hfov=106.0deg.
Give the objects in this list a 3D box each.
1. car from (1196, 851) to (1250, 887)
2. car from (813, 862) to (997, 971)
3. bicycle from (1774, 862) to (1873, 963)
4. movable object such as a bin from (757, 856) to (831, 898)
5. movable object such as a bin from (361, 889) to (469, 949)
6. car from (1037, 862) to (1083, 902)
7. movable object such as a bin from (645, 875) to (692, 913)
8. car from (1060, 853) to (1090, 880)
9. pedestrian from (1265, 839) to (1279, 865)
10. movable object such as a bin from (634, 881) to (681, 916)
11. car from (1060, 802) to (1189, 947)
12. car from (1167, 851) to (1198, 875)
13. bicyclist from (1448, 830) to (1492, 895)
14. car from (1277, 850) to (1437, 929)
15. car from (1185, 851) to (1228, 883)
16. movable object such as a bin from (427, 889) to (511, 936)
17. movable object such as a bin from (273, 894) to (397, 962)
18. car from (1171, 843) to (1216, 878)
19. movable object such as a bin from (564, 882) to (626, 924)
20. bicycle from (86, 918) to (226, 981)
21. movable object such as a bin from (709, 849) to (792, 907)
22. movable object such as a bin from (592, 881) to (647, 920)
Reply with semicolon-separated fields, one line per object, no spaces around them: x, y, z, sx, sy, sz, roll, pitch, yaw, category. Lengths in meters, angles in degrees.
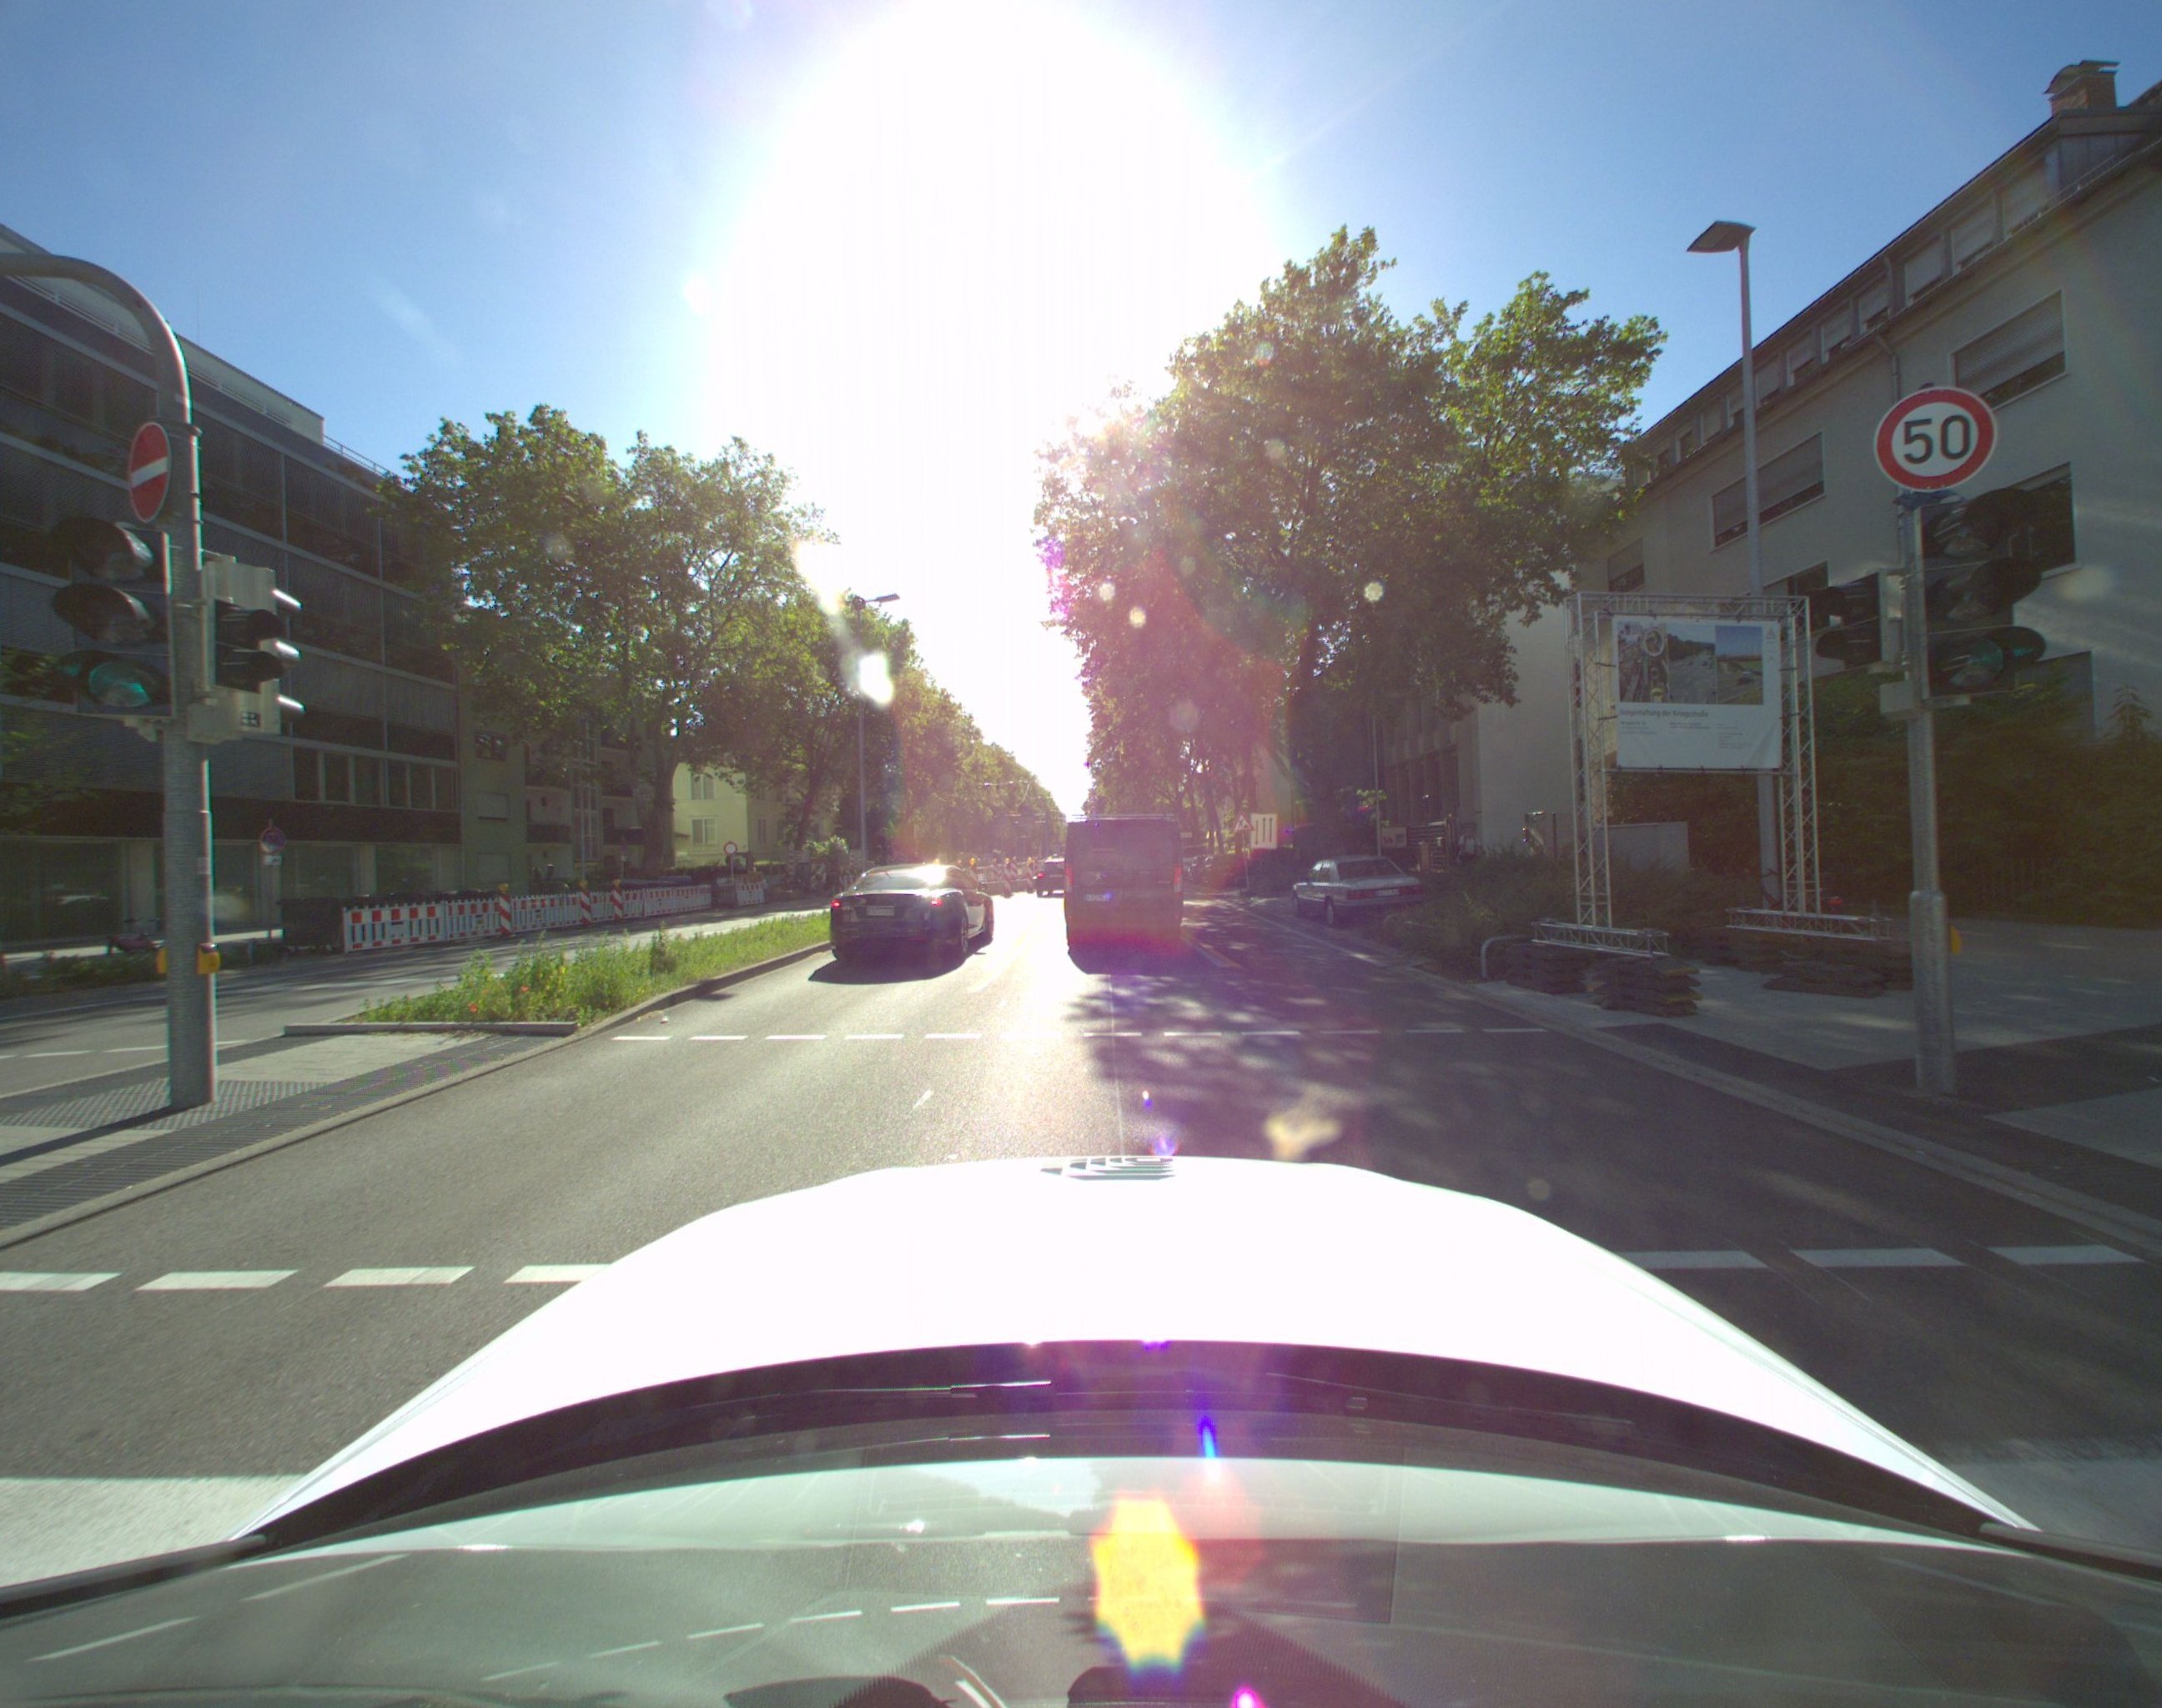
6.466;0.663;37.473;1.757;1.508;4.251;-2;0;1;car
-2.705;0.895;13.716;1.918;1.412;4.627;-2;0;2;car
8.607;0.620;9.510;0.581;1.005;2.145;-2;0;35;bicycle
-16.819;1.294;48.045;1.985;2.278;5.604;-3;0;3;movable object such as a bin
-17.365;1.658;21.314;1.209;1.388;1.857;-2;0;3;movable object such as a bin
-0.818;1.081;32.888;1.741;1.407;3.999;-1;1;-1;car
-16.956;1.626;33.566;1.638;1.423;1.252;-2;0;-25;movable object such as a bin
-0.339;0.681;45.322;1.543;1.425;3.554;-2;-1;0;car
12.270;-0.108;52.281;0.704;1.648;0.675;0;2;-2;pedestrian
-16.474;1.719;31.740;0.976;1.271;1.541;-2;0;1;movable object such as a bin
0.767;0.324;15.469;2.088;2.355;3.934;-1;0;1;car
6.804;0.611;54.901;1.741;1.477;4.104;-3;0;3;car
11.352;0.240;23.796;0.721;1.820;1.071;-2;0;2;bicyclist
5.946;0.697;18.246;1.846;1.479;4.940;-2;0;-1;car
6.474;0.661;42.464;1.651;1.540;4.129;-1;0;1;car
-17.294;1.640;23.052;1.388;1.203;1.243;-2;0;4;movable object such as a bin
-17.315;1.684;18.977;1.109;1.388;1.857;-2;0;3;movable object such as a bin
6.718;0.381;49.154;2.019;1.946;5.273;-2;0;1;car
-16.874;1.690;28.320;1.404;1.338;1.157;-2;0;3;movable object such as a bin
-18.599;1.886;16.448;0.624;1.037;1.880;-2;0;2;bicycle
-16.835;1.165;41.863;2.141;2.706;5.350;-2;0;-2;movable object such as a bin
-16.662;1.674;29.405;1.404;1.338;0.936;-2;0;3;movable object such as a bin
